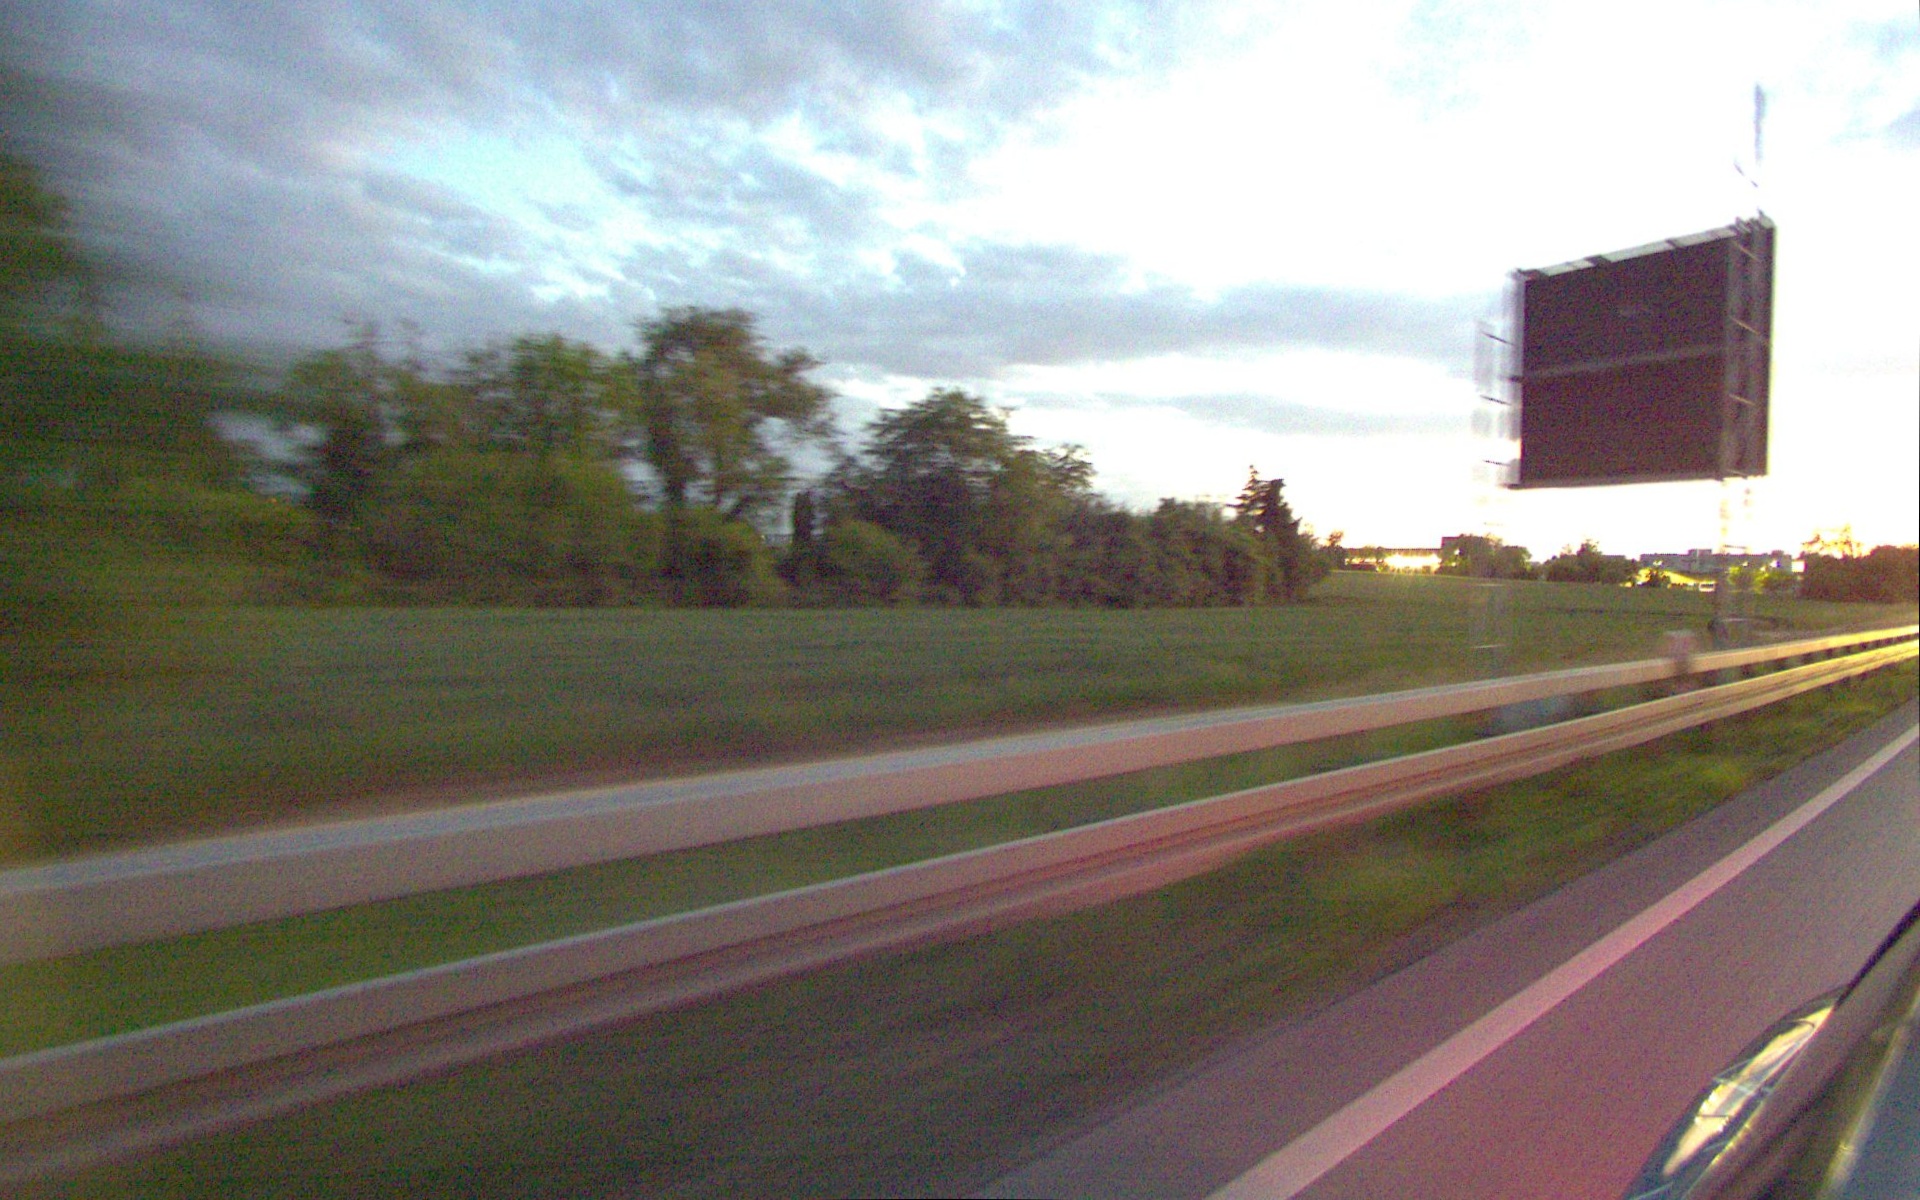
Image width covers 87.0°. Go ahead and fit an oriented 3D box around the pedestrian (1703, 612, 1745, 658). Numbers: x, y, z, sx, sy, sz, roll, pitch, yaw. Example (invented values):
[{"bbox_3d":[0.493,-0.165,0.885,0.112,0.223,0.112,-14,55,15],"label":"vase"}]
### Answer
[{"bbox_3d":[28.906,1.302,38.293,1.099,1.664,1.063,0,0,-42],"label":"pedestrian"}]
